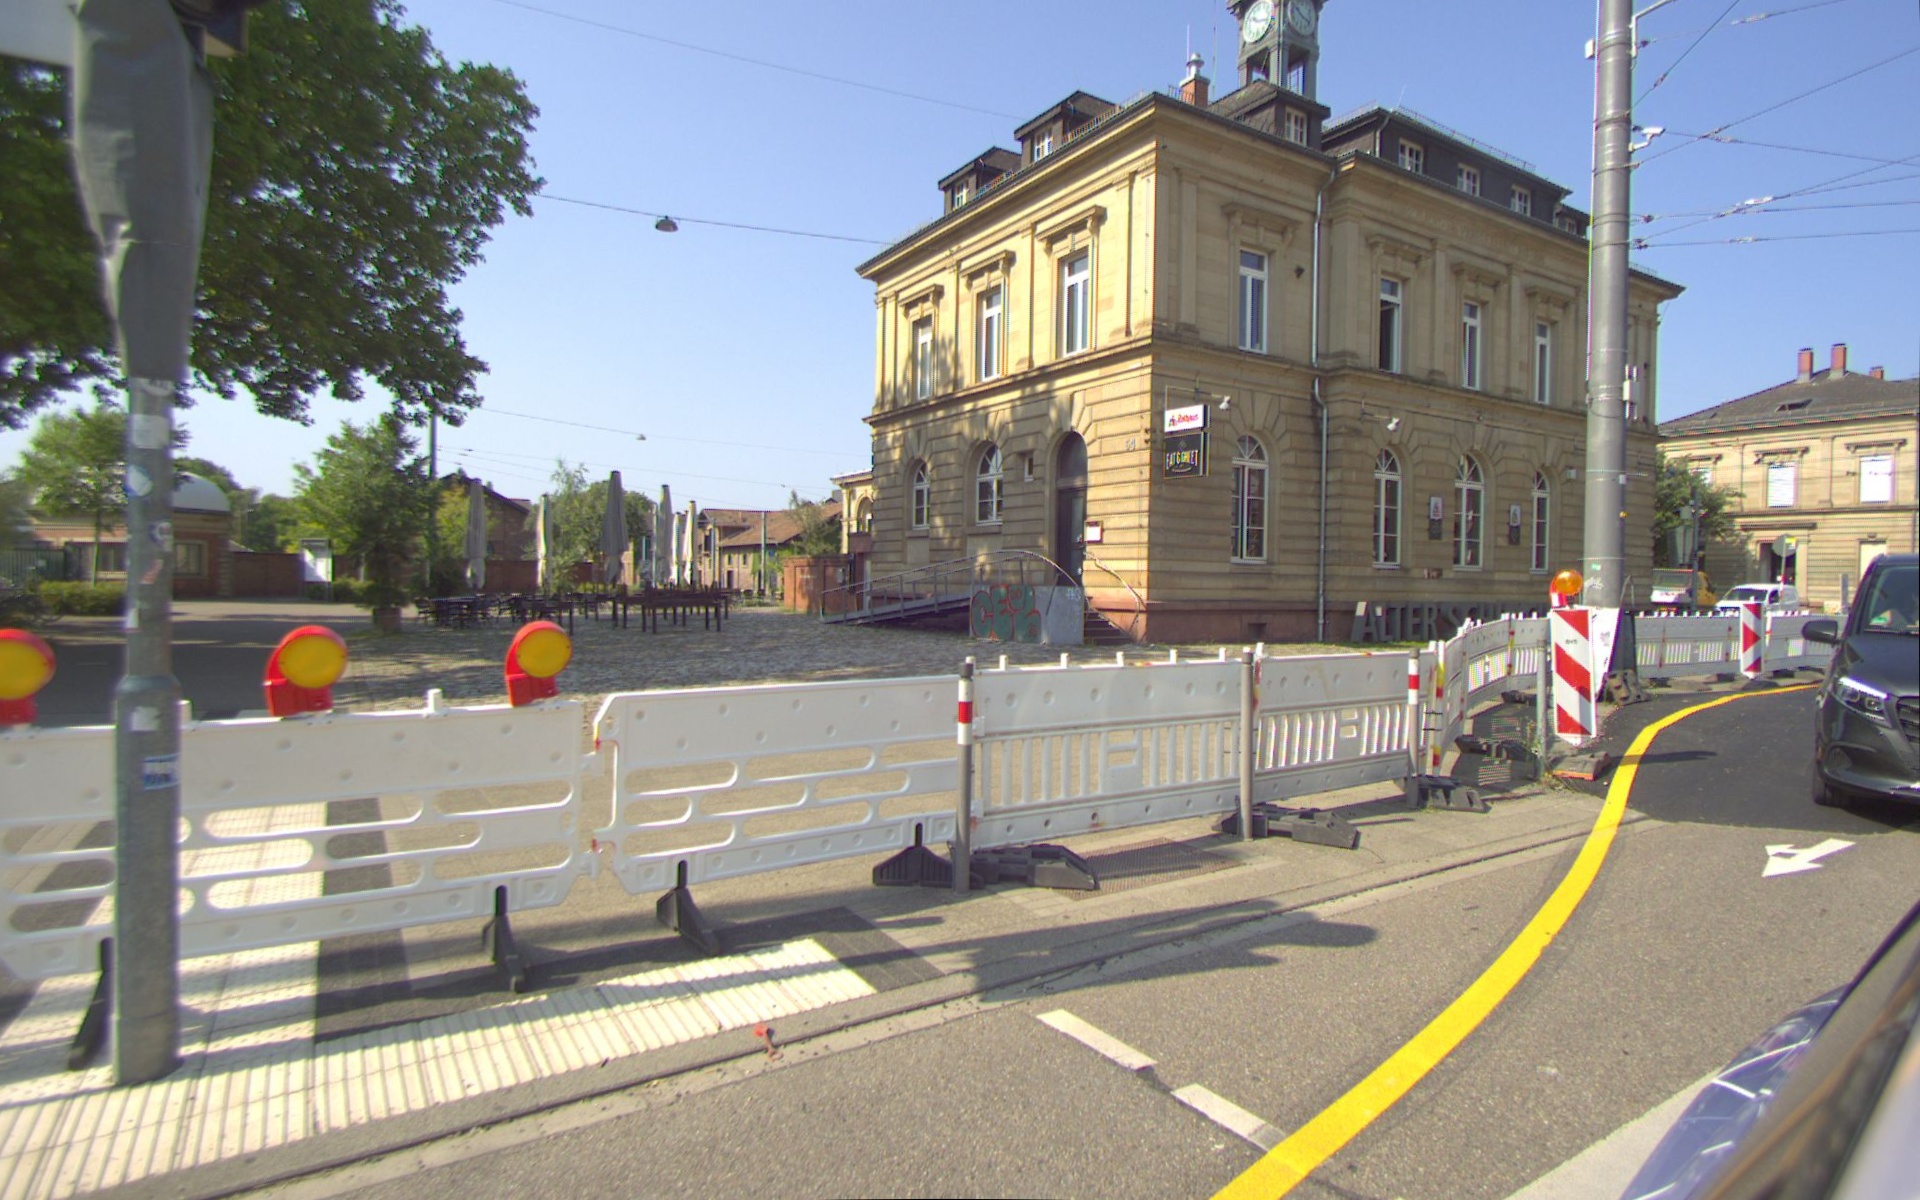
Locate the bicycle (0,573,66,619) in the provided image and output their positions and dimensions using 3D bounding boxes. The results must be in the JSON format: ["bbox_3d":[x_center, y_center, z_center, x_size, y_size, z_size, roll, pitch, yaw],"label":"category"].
[{"bbox_3d":[-23.091,-0.095,24.725,1.822,1.102,0.533,0,1,-35],"label":"bicycle"}]

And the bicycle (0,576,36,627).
[{"bbox_3d":[-21.209,0.032,21.824,1.822,1.102,0.493,0,1,-35],"label":"bicycle"}]

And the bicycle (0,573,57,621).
[{"bbox_3d":[-22.261,-0.063,23.545,1.822,1.102,0.493,0,1,-35],"label":"bicycle"}]

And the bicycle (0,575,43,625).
[{"bbox_3d":[-21.780,-0.008,22.624,1.822,1.102,0.493,0,1,-35],"label":"bicycle"}]

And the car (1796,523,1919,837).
[{"bbox_3d":[7.616,0.455,7.236,4.106,1.909,1.852,-1,2,-41],"label":"car"}]

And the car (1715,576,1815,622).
[{"bbox_3d":[34.406,-0.065,43.244,4.140,1.804,1.913,0,3,-30],"label":"car"}]

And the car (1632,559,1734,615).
[{"bbox_3d":[33.756,-0.602,47.188,5.386,2.453,2.265,0,1,-36],"label":"car"}]
